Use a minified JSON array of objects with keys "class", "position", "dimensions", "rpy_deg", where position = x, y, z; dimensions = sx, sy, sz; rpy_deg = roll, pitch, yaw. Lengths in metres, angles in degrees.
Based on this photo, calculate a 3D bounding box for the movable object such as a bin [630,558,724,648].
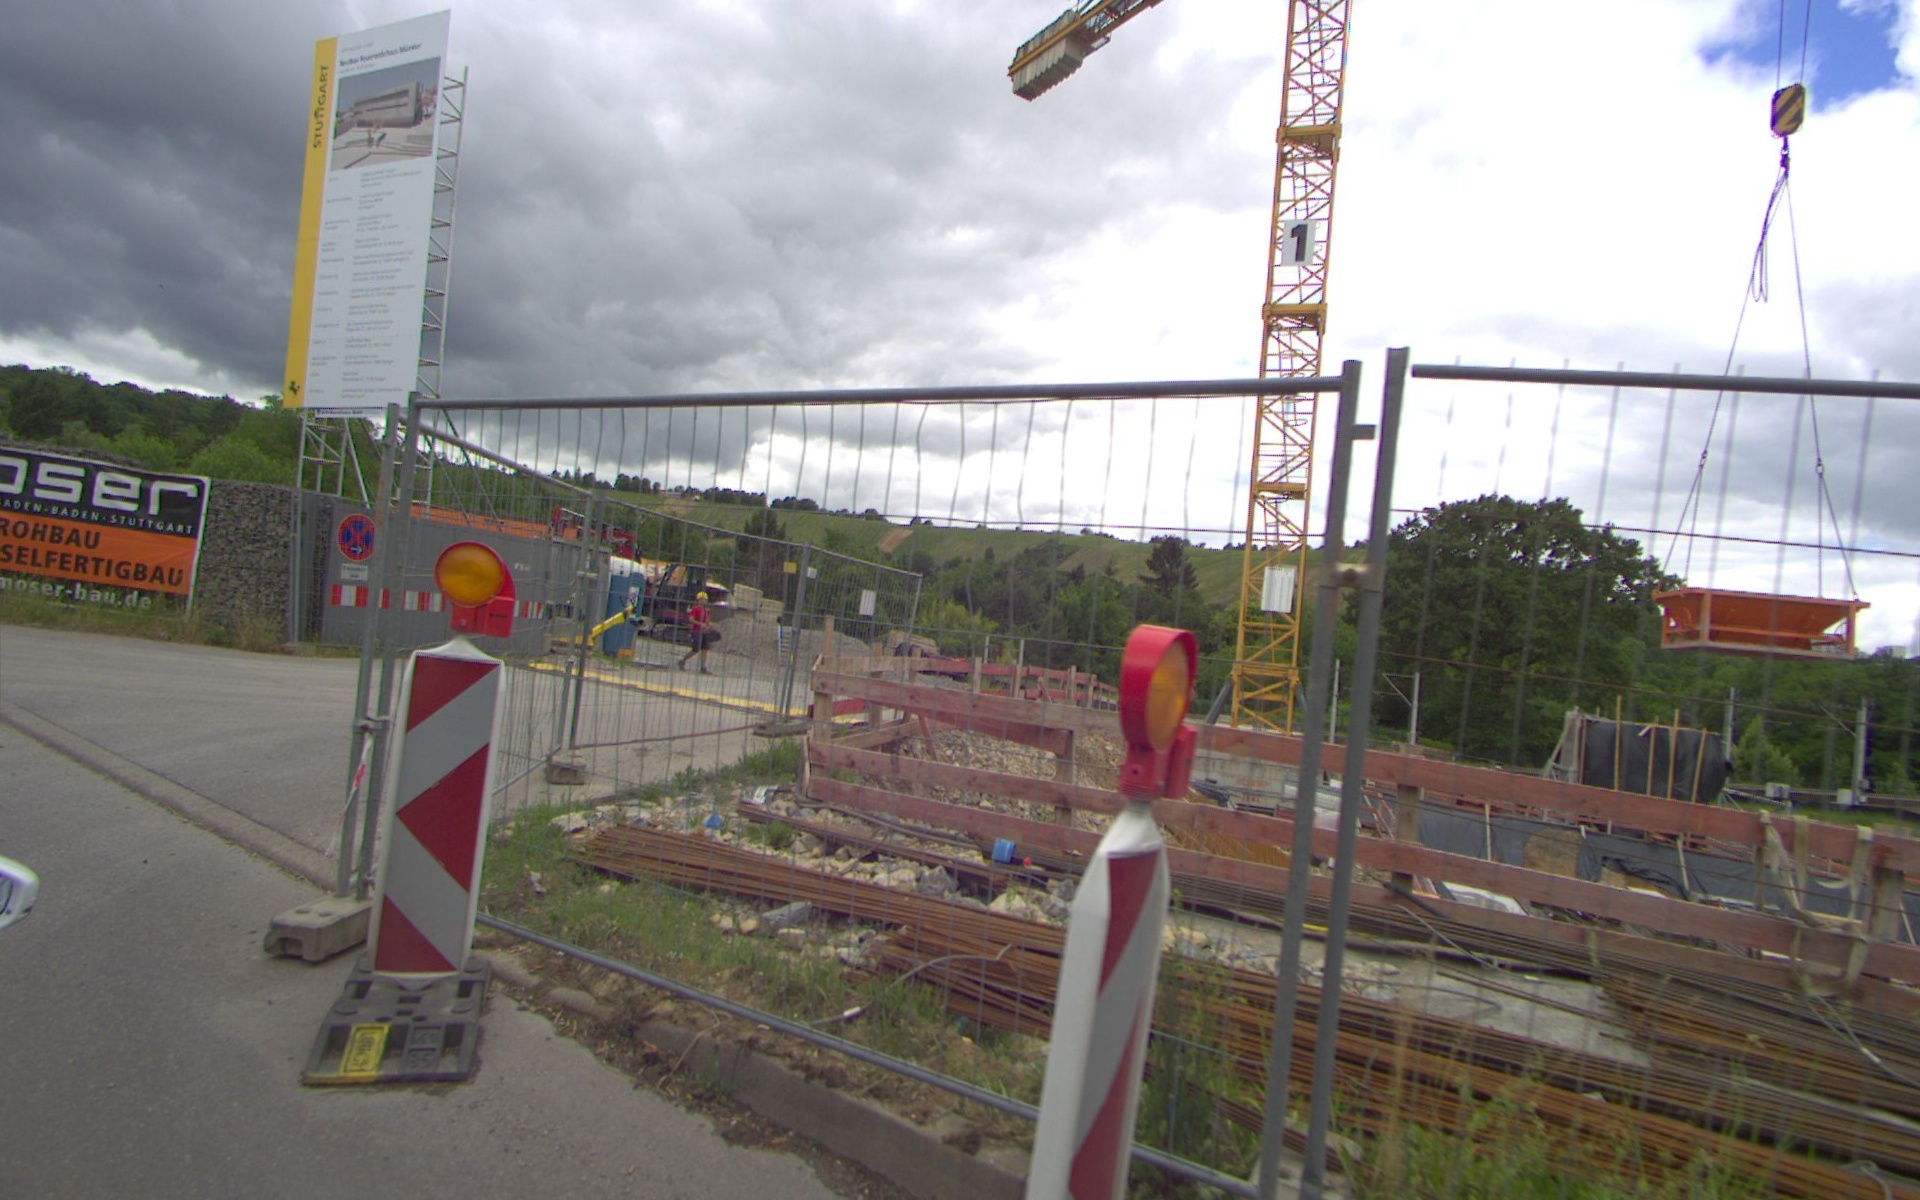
[{"class":"movable object such as a bin","position":[-9.603,0.135,34.064],"dimensions":[2.703,2.615,1.994],"rpy_deg":[8,-2,-18]}]

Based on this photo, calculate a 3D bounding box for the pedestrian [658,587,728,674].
[{"class":"pedestrian","position":[-6.416,0.739,24.197],"dimensions":[1.134,1.923,0.827],"rpy_deg":[6,-2,21]}]
